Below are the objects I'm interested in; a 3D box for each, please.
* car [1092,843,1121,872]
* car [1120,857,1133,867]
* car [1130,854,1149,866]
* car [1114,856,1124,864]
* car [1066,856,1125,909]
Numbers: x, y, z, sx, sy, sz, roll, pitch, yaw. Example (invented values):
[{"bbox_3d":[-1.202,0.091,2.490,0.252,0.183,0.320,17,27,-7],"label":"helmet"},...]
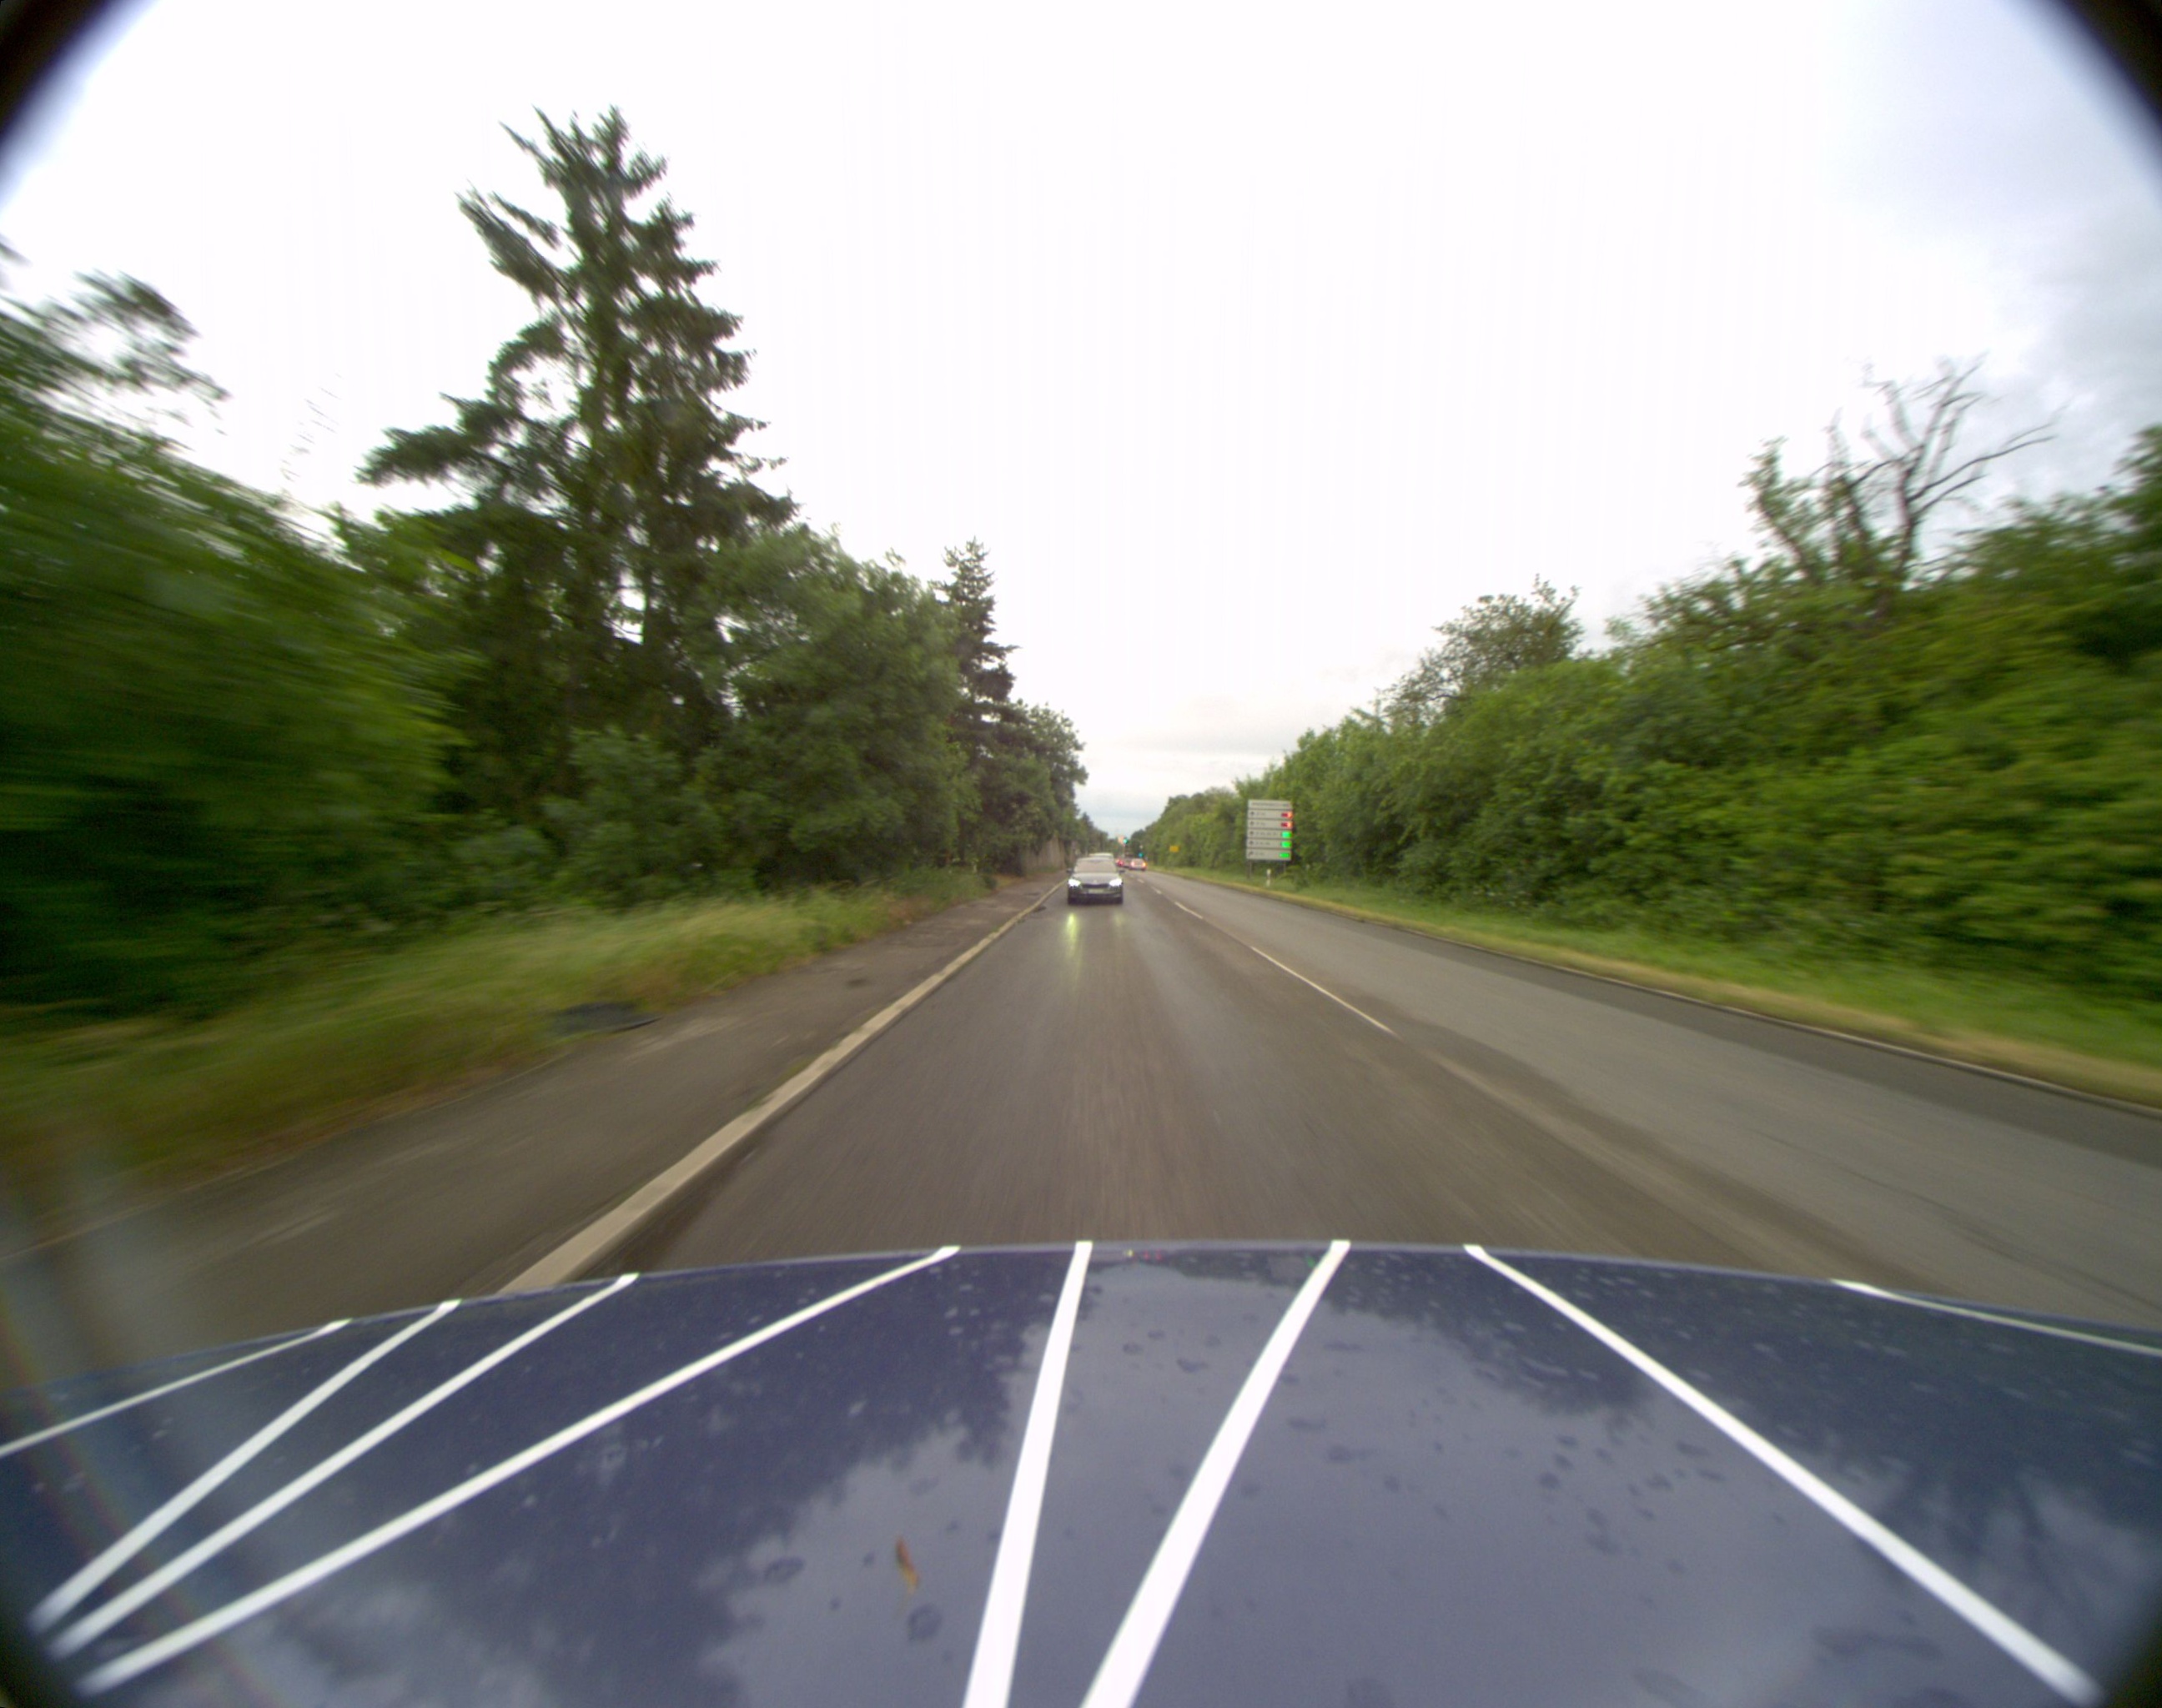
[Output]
[{"bbox_3d":[1.552,0.175,47.442,1.704,1.724,3.999,1,1,0],"label":"car"},{"bbox_3d":[6.822,1.165,113.570,1.830,1.411,4.320,2,0,2],"label":"car"},{"bbox_3d":[6.937,0.693,90.119,1.895,1.347,4.381,1,1,0],"label":"car"},{"bbox_3d":[7.927,1.263,159.689,1.737,1.584,4.281,3,0,0],"label":"car"},{"bbox_3d":[0.476,0.823,23.969,1.675,1.477,4.215,-1,0,1],"label":"car"}]
